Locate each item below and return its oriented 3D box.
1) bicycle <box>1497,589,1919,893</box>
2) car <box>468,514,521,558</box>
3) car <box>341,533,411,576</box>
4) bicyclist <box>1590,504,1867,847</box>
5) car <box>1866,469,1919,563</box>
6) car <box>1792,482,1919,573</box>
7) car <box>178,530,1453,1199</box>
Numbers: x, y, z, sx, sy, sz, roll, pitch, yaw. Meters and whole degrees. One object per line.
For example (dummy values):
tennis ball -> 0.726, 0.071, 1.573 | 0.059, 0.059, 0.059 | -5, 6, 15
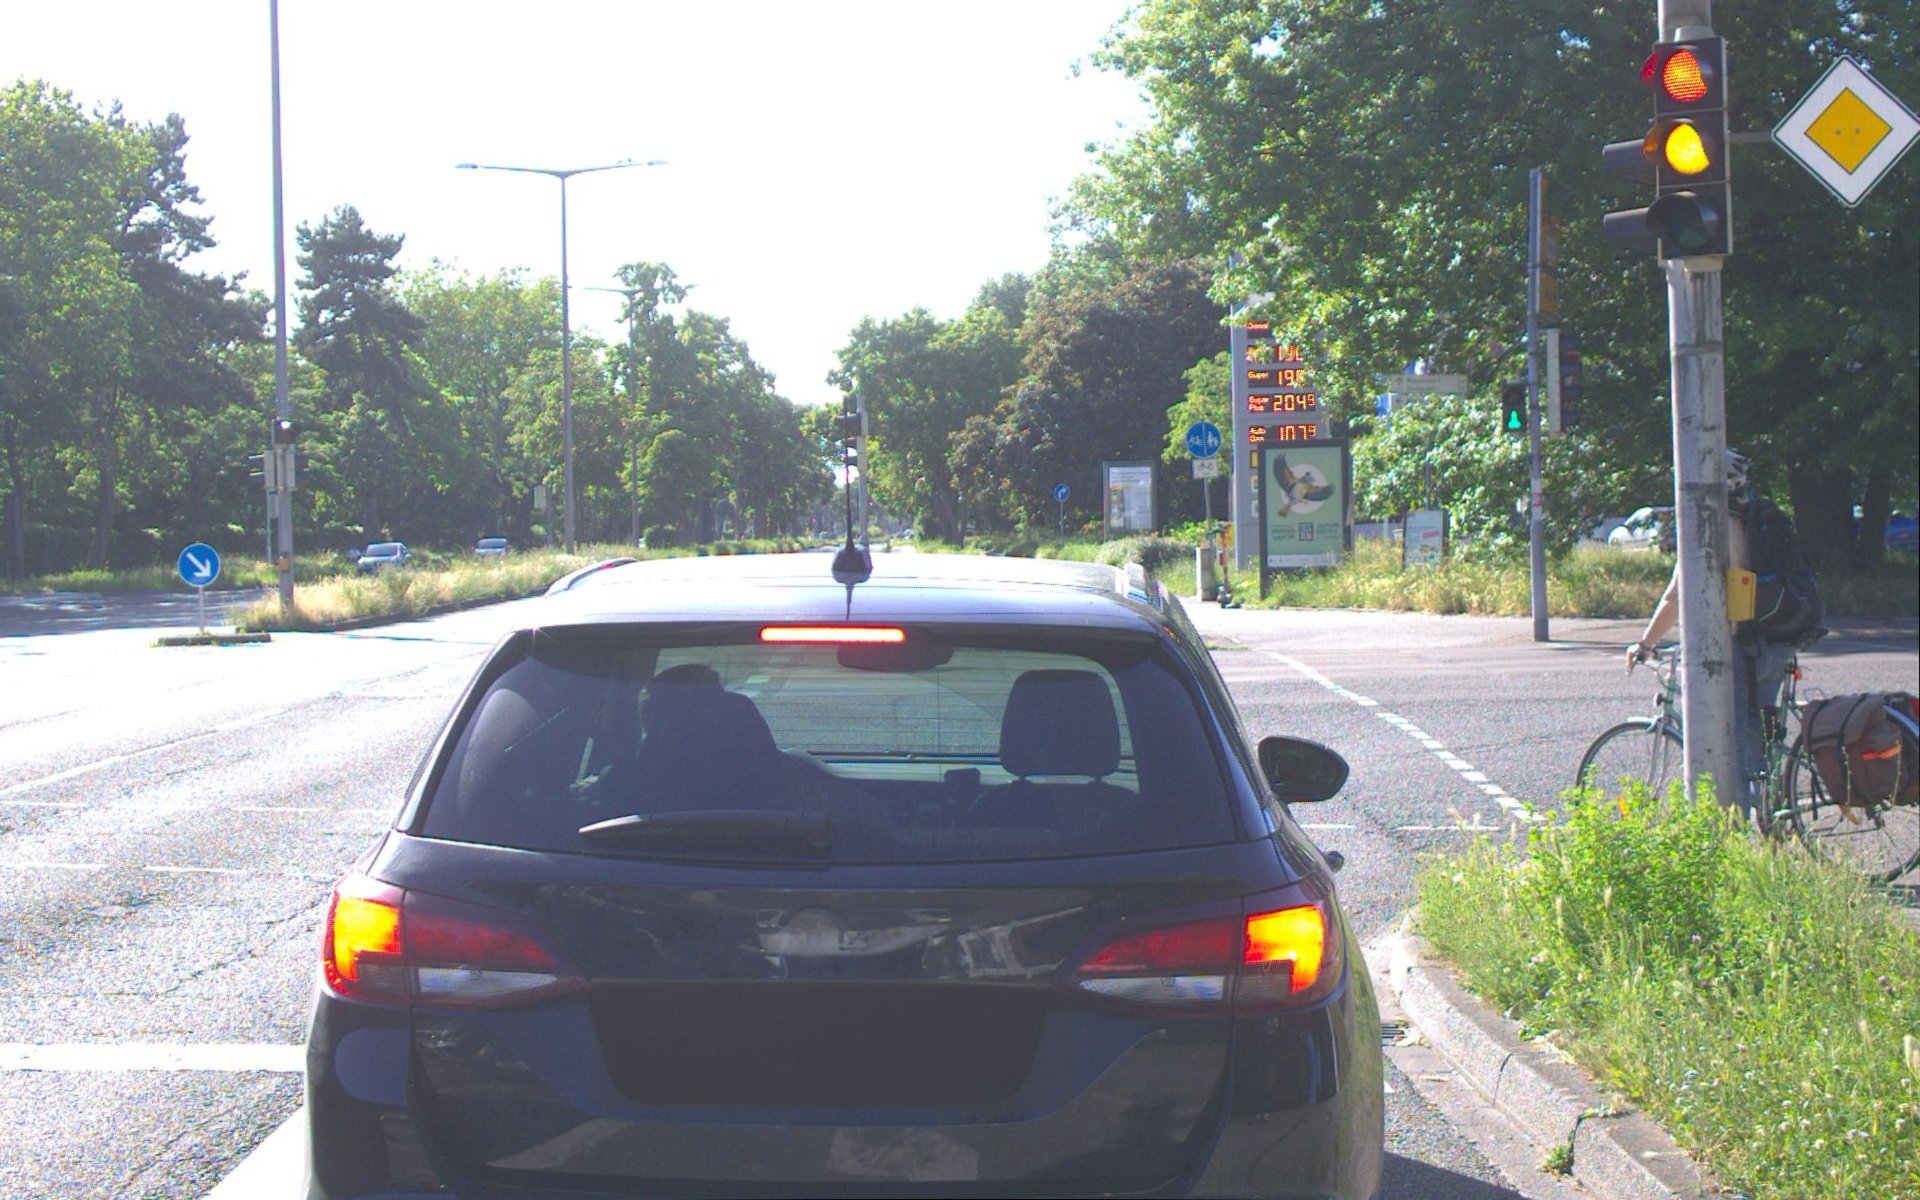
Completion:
bicycle -> 2.987, 0.542, 13.342 | 0.536, 1.094, 1.775 | -3, 0, -44
car -> -22.196, -3.054, 164.072 | 1.993, 2.007, 4.000 | -2, 1, -1
car -> -22.024, -1.716, 129.782 | 1.993, 1.525, 4.000 | -2, 1, -1
bicyclist -> 2.977, 0.292, 13.338 | 0.536, 1.272, 0.829 | -3, 0, -44
car -> 17.100, -1.426, 56.725 | 3.887, 1.512, 1.746 | -2, 1, -23
car -> 16.624, -1.285, 59.811 | 3.887, 1.512, 1.746 | -2, 1, -23
car -> -0.224, 0.626, 6.855 | 1.756, 1.490, 4.207 | 0, 1, -1
